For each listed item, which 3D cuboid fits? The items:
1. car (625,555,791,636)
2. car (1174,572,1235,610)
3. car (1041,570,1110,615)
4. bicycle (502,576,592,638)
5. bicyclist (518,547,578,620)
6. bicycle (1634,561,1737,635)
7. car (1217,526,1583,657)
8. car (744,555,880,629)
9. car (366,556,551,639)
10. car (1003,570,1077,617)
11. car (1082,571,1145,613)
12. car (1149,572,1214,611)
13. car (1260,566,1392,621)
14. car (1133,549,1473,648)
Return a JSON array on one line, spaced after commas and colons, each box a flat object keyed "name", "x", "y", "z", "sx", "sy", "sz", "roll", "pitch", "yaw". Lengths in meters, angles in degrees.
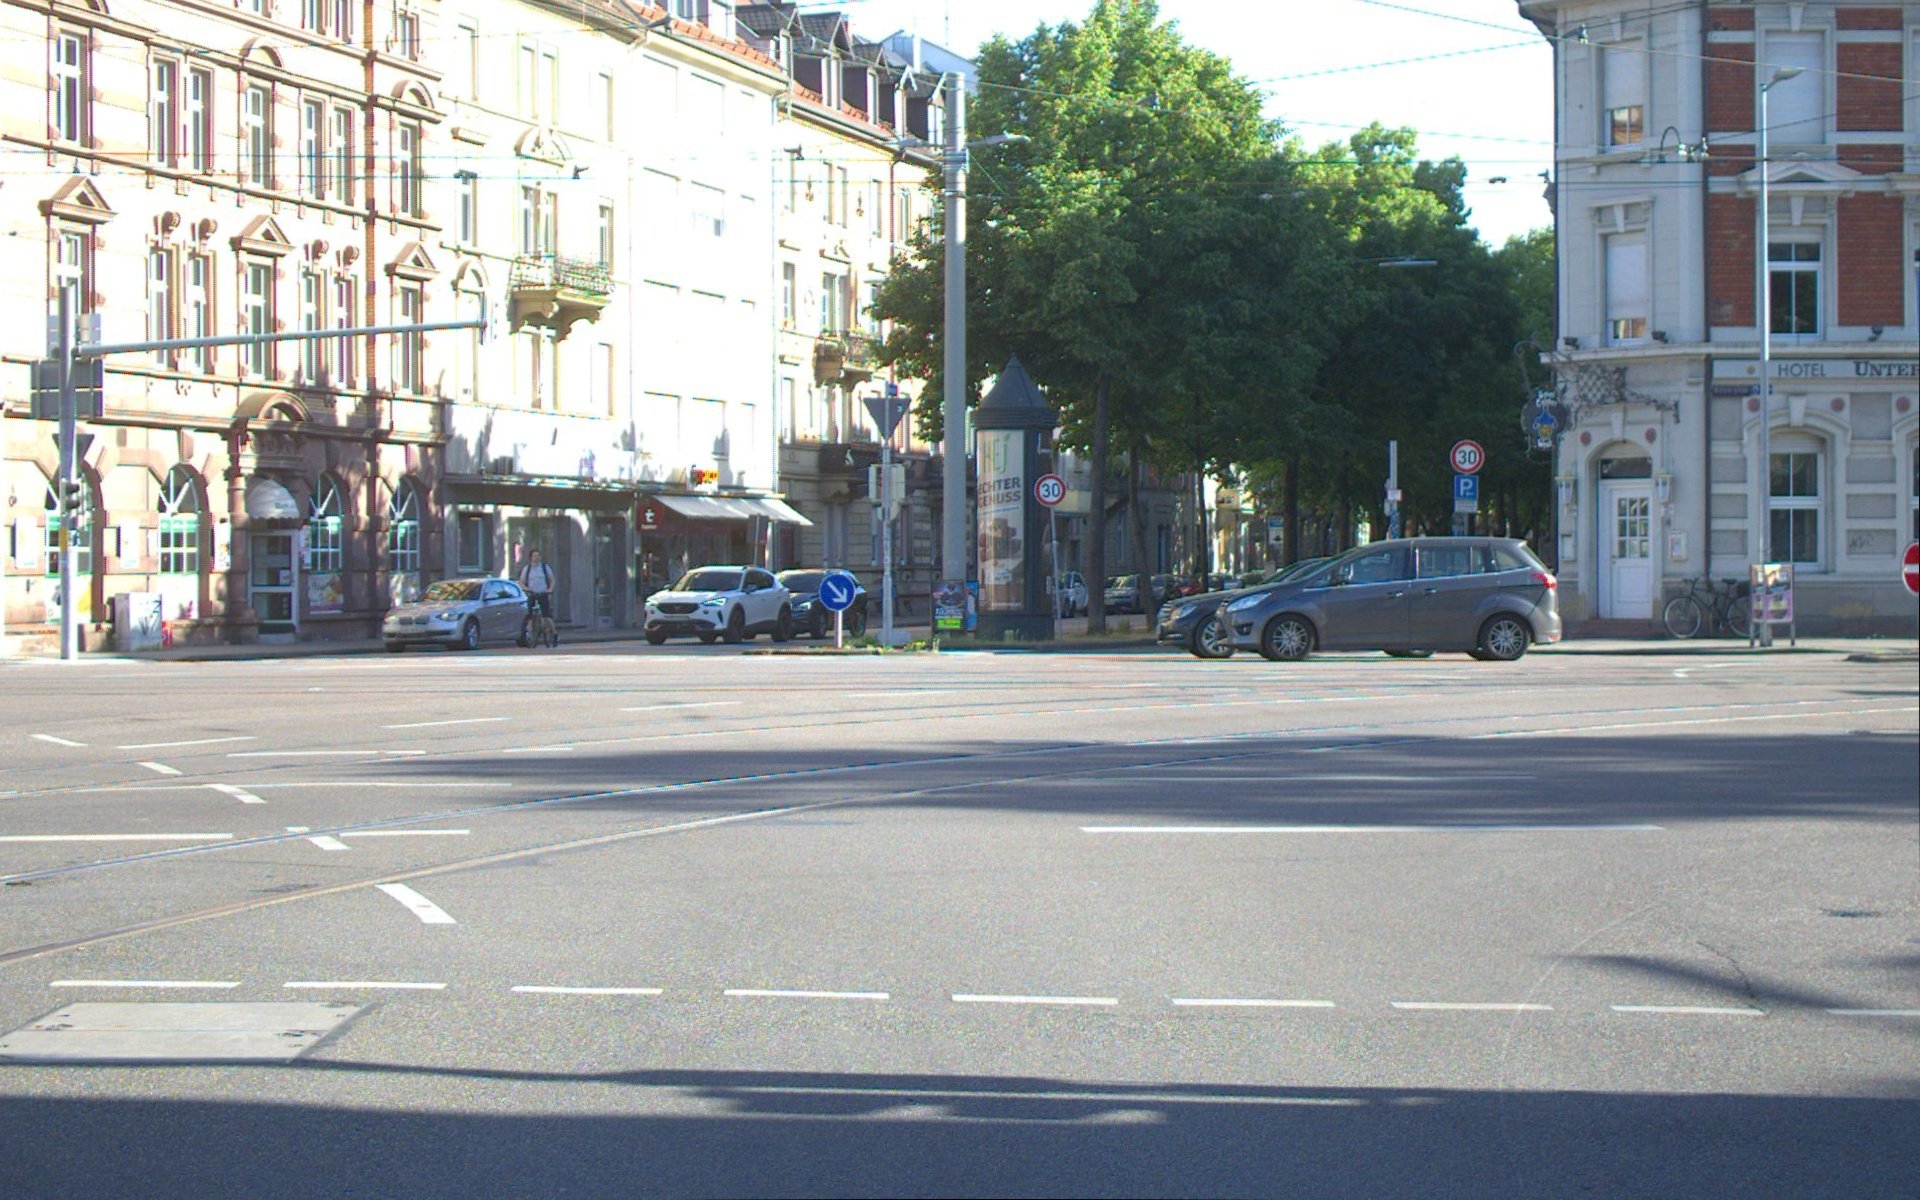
[{"name": "car", "x": -4.881, "y": -0.108, "z": 67.173, "sx": 2.098, "sy": 1.494, "sz": 3.998, "roll": 0, "pitch": 1, "yaw": 14}, {"name": "car", "x": 9.717, "y": -0.358, "z": 136.395, "sx": 1.742, "sy": 1.393, "sz": 4.121, "roll": 3, "pitch": 1, "yaw": 13}, {"name": "car", "x": 3.913, "y": -0.264, "z": 115.814, "sx": 1.741, "sy": 1.393, "sz": 4.122, "roll": 3, "pitch": 1, "yaw": 9}, {"name": "bicycle", "x": -7.869, "y": 0.122, "z": 65.635, "sx": 0.751, "sy": 1.131, "sz": 2.808, "roll": 0, "pitch": 1, "yaw": 14}, {"name": "bicyclist", "x": -7.855, "y": -0.319, "z": 65.598, "sx": 0.794, "sy": 1.370, "sz": 1.107, "roll": 0, "pitch": 1, "yaw": 14}, {"name": "bicycle", "x": 12.061, "y": -0.040, "z": 57.143, "sx": 1.639, "sy": 1.218, "sz": 0.606, "roll": 0, "pitch": 1, "yaw": 16}, {"name": "car", "x": 5.709, "y": -0.130, "z": 45.011, "sx": 4.510, "sy": 1.666, "sz": 2.000, "roll": 0, "pitch": 1, "yaw": -1}, {"name": "car", "x": -3.132, "y": -0.196, "z": 73.540, "sx": 1.994, "sy": 1.508, "sz": 3.998, "roll": 0, "pitch": 1, "yaw": 12}, {"name": "car", "x": -9.779, "y": -0.076, "z": 67.387, "sx": 2.098, "sy": 1.540, "sz": 4.361, "roll": 0, "pitch": 1, "yaw": 14}, {"name": "car", "x": 2.590, "y": -0.224, "z": 110.009, "sx": 1.741, "sy": 1.393, "sz": 4.122, "roll": 3, "pitch": 1, "yaw": 9}, {"name": "car", "x": 5.499, "y": -0.312, "z": 122.791, "sx": 1.741, "sy": 1.393, "sz": 4.122, "roll": 3, "pitch": 1, "yaw": 9}, {"name": "car", "x": 8.499, "y": -0.323, "z": 131.616, "sx": 1.742, "sy": 1.393, "sz": 4.121, "roll": 3, "pitch": 1, "yaw": 13}, {"name": "car", "x": 12.284, "y": -0.235, "z": 115.234, "sx": 4.113, "sy": 1.640, "sz": 1.745, "roll": 3, "pitch": 1, "yaw": 15}, {"name": "car", "x": 4.757, "y": -0.040, "z": 48.144, "sx": 4.509, "sy": 1.336, "sz": 2.000, "roll": 0, "pitch": 1, "yaw": -2}]
